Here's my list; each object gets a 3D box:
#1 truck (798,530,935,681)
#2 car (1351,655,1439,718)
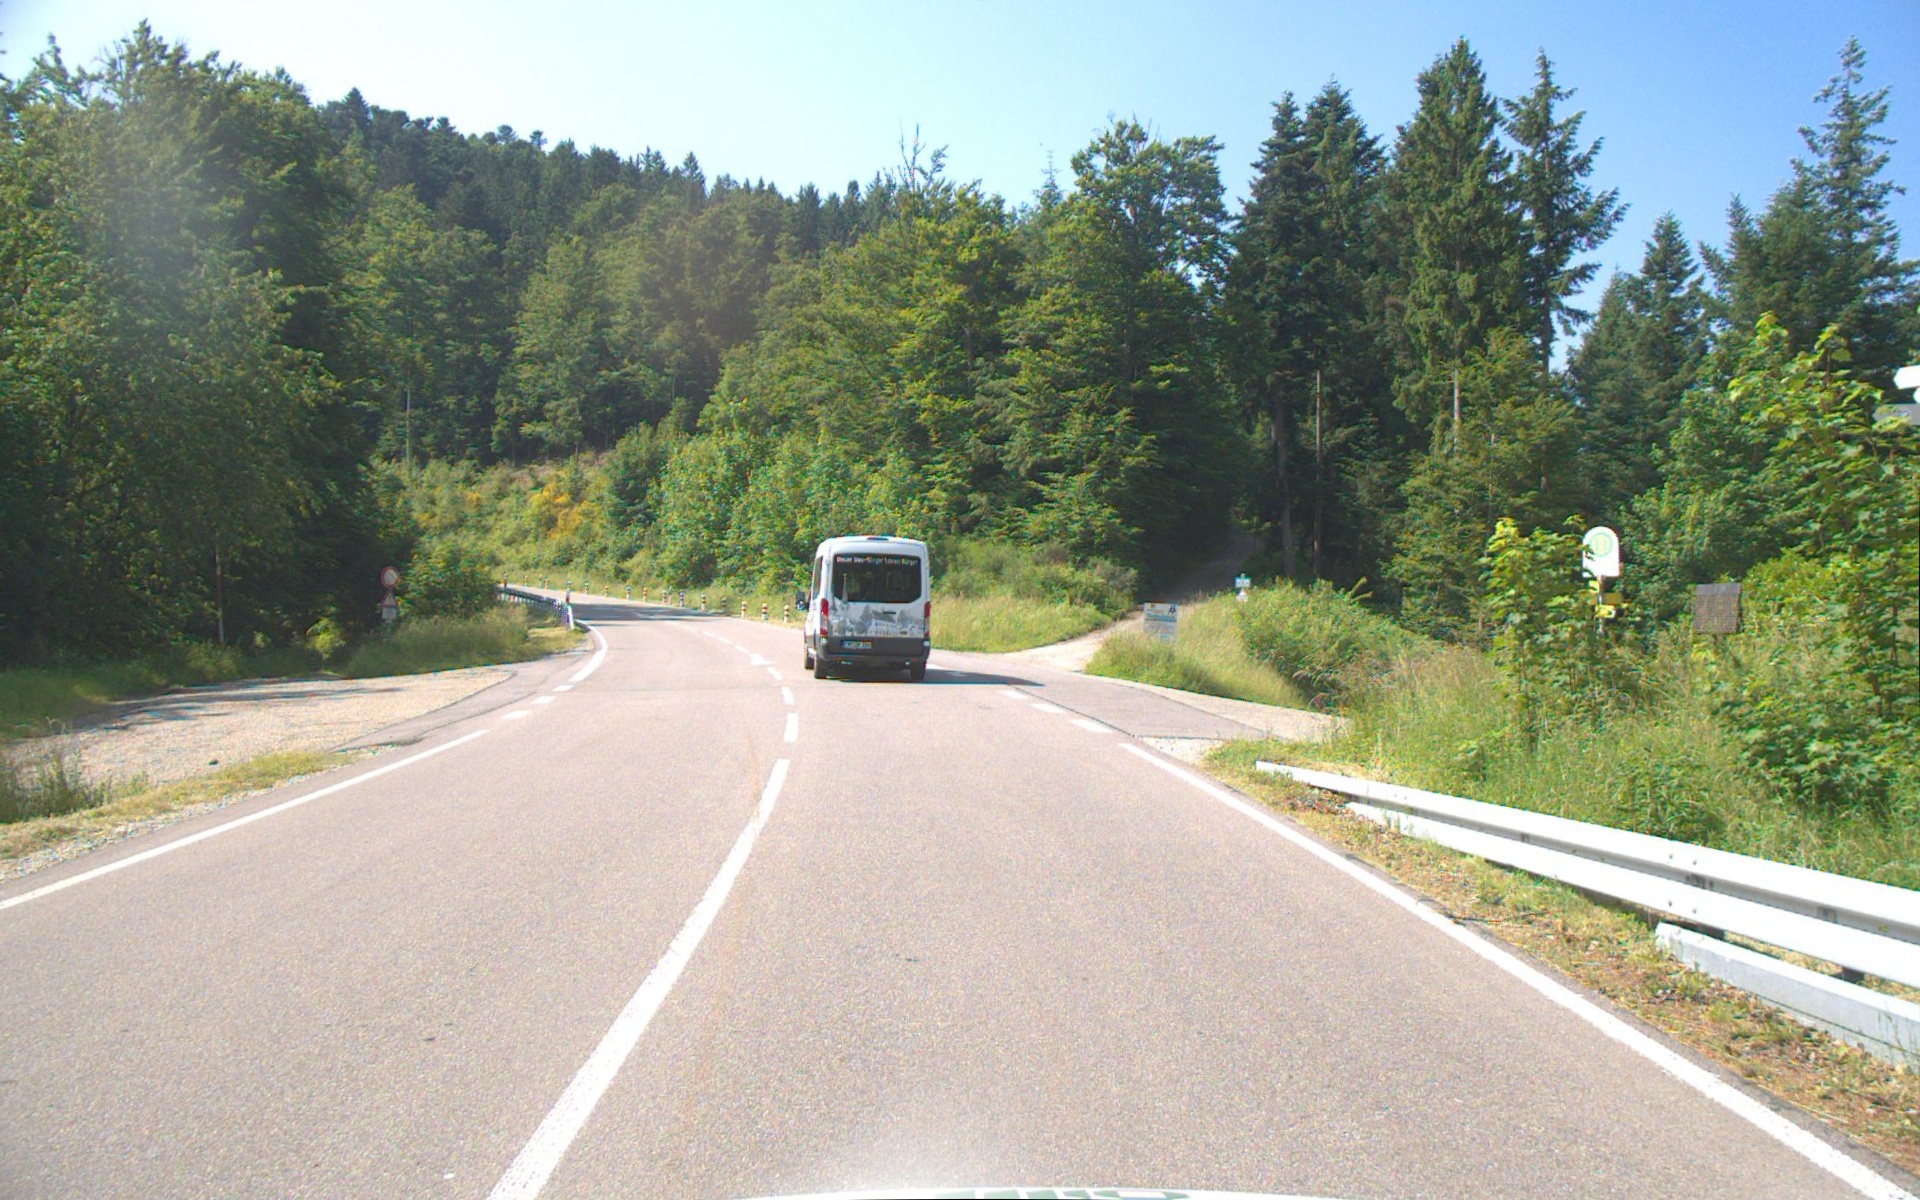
[{"bbox_3d":[-1.841,0.082,30.845,2.076,2.542,5.349,1,0,-8],"label":"truck"},{"bbox_3d":[13.897,2.718,52.692,1.896,1.620,3.997,7,2,25],"label":"car"}]
